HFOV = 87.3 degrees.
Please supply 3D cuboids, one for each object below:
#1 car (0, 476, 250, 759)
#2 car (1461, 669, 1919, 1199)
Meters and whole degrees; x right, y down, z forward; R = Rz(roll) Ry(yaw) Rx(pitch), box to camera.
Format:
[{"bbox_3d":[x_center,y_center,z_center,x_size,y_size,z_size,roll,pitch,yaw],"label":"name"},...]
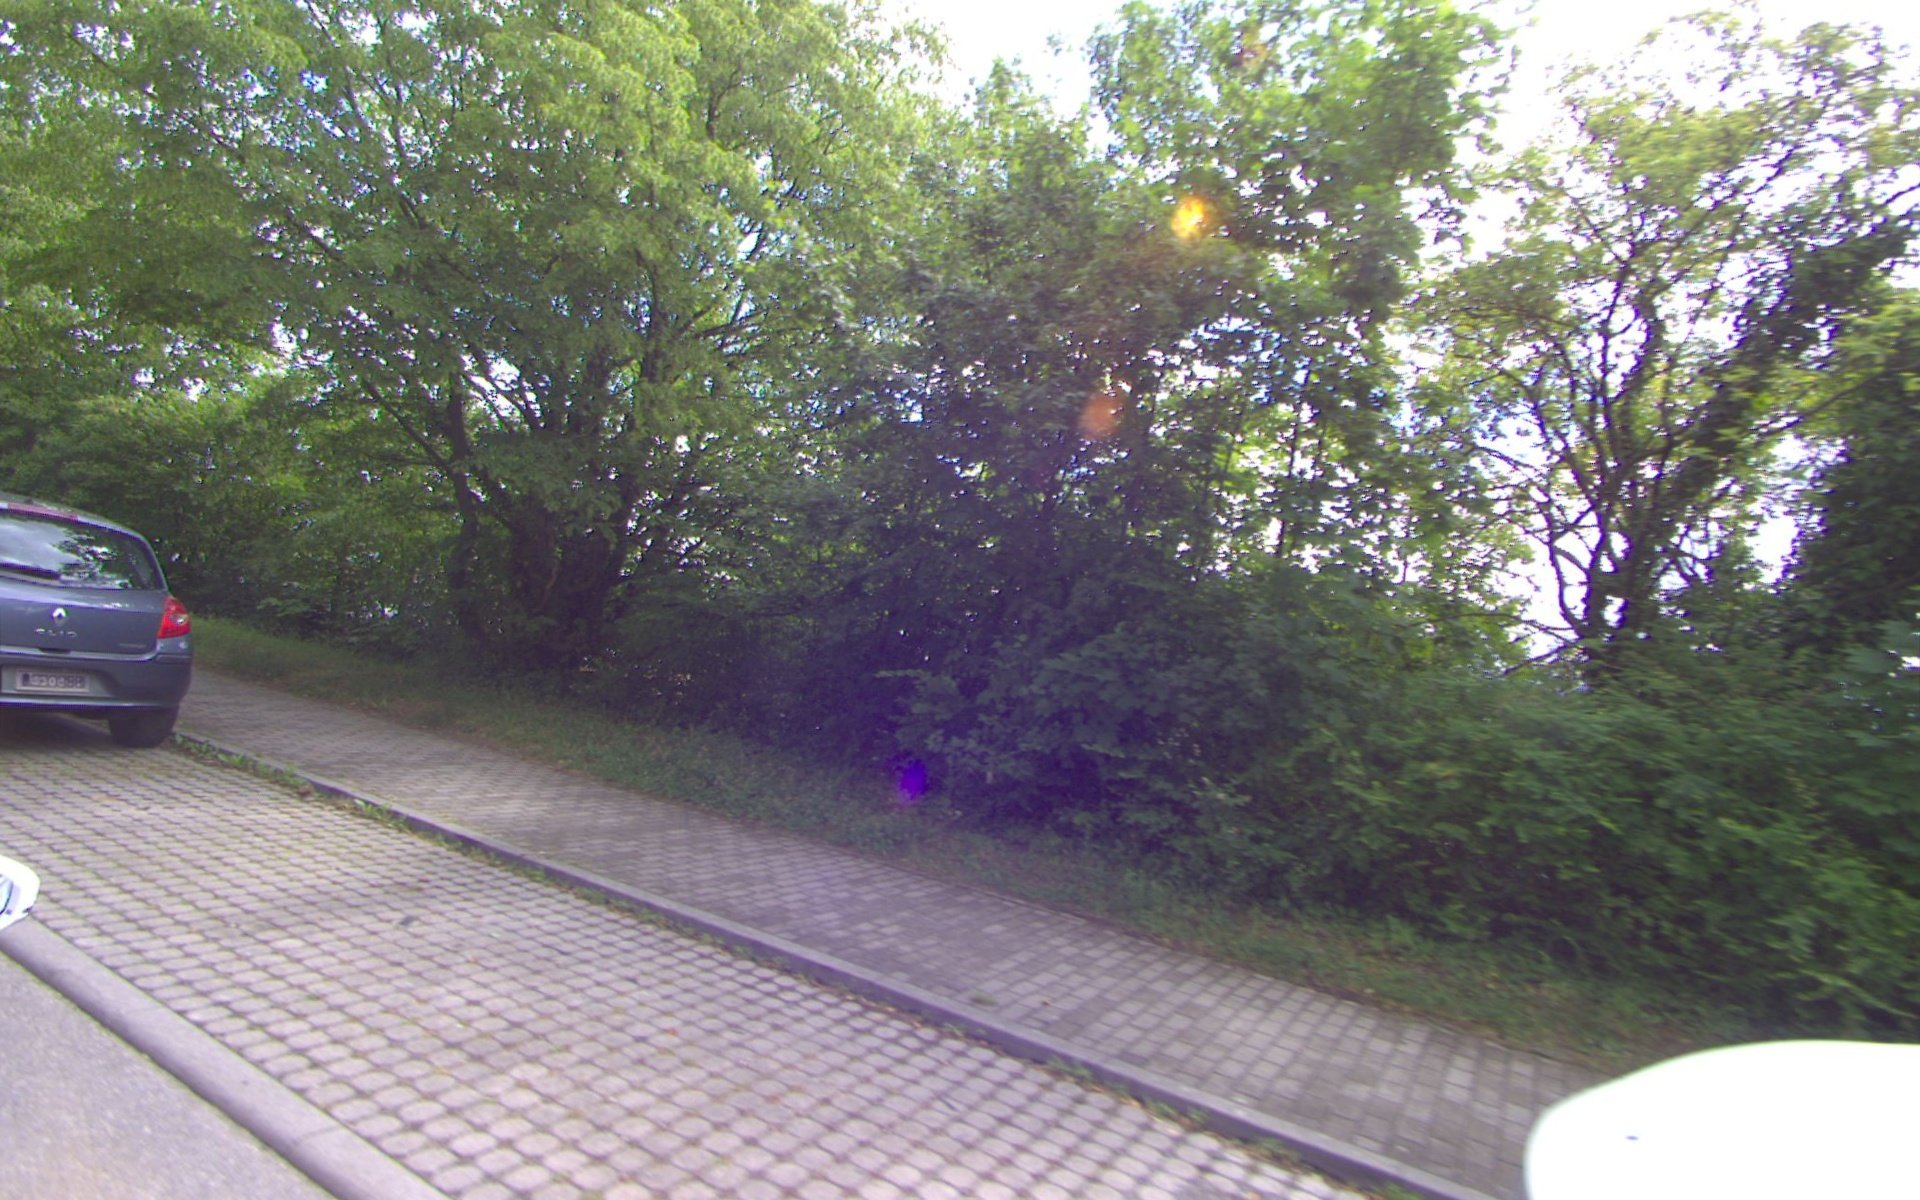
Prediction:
[{"bbox_3d":[-6.863,-0.064,6.710,4.037,1.534,1.775,7,-4,30],"label":"car"},{"bbox_3d":[3.134,1.182,0.823,4.820,1.494,1.867,7,-2,31],"label":"car"}]
